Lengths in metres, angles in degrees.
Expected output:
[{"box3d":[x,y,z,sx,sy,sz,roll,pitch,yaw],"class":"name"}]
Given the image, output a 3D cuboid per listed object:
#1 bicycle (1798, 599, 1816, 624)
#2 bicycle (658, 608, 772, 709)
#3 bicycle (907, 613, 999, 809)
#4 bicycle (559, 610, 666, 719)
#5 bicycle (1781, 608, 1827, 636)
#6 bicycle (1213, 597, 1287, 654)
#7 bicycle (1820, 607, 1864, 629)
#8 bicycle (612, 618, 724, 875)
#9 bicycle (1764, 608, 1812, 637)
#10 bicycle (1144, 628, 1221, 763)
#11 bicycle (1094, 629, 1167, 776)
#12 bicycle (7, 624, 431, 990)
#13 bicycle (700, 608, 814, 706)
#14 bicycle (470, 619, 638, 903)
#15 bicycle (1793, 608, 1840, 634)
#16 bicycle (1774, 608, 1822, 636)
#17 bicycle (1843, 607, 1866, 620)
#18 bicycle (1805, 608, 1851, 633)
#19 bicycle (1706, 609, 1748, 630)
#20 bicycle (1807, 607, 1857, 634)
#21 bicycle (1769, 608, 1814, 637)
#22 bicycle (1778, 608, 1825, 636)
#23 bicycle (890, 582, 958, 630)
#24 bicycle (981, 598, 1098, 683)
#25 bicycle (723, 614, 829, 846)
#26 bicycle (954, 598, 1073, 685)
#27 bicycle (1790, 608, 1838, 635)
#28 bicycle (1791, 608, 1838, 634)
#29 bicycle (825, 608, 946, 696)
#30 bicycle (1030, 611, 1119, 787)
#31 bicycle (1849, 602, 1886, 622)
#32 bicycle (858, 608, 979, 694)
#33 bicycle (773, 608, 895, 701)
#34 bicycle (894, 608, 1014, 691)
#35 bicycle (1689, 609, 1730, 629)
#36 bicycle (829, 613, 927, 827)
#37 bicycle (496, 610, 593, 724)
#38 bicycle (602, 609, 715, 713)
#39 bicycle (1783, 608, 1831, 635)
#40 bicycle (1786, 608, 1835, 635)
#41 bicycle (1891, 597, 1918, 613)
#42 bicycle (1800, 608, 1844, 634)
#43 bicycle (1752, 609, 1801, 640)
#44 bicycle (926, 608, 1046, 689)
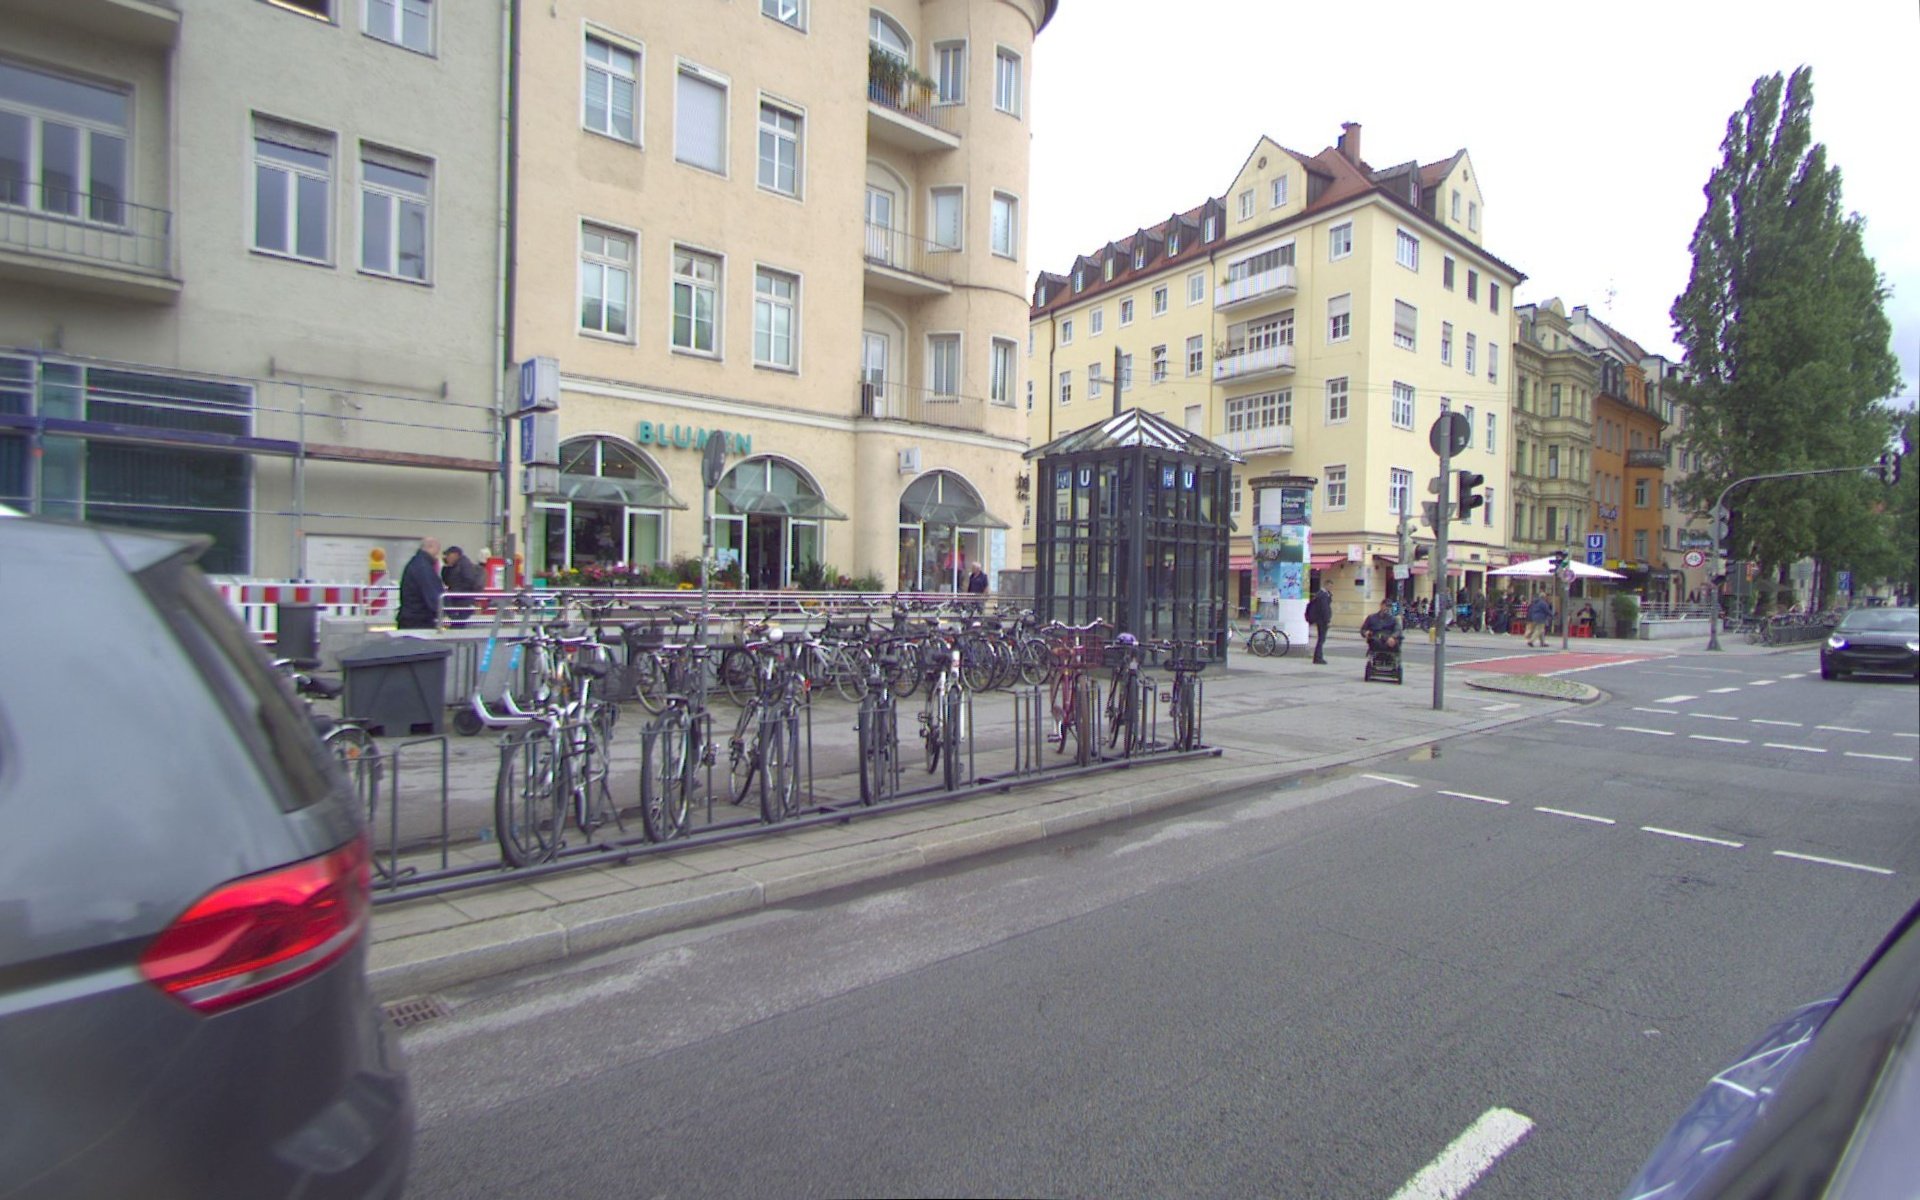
[{"box3d":[44.843,0.622,53.558,1.747,1.304,0.424,0,1,-41],"class":"bicycle"},{"box3d":[-2.786,0.620,11.388,0.445,0.976,1.757,1,1,-42],"class":"bicycle"},{"box3d":[-0.092,0.713,7.292,0.537,1.172,1.806,1,1,-4],"class":"bicycle"},{"box3d":[-3.654,0.631,10.555,0.445,0.976,1.758,1,1,-40],"class":"bicycle"},{"box3d":[34.099,0.865,40.906,0.341,1.008,1.842,2,2,1],"class":"bicycle"},{"box3d":[6.558,0.559,22.951,0.515,1.174,1.573,3,1,-38],"class":"bicycle"},{"box3d":[41.508,0.854,47.643,0.319,1.008,1.844,2,0,-5],"class":"bicycle"},{"box3d":[-1.634,0.731,5.840,0.477,1.172,1.809,1,1,-12],"class":"bicycle"},{"box3d":[31.585,0.857,38.619,0.341,1.008,1.841,2,2,3],"class":"bicycle"},{"box3d":[2.001,0.819,9.241,0.491,1.041,1.599,1,1,6],"class":"bicycle"},{"box3d":[1.425,0.815,8.622,0.491,1.041,1.599,1,1,6],"class":"bicycle"},{"box3d":[-3.013,0.735,4.381,0.639,1.172,1.807,1,1,-6],"class":"bicycle"},{"box3d":[-2.368,0.621,11.662,0.445,0.976,1.757,1,1,-42],"class":"bicycle"},{"box3d":[-2.075,0.728,5.366,0.477,1.172,1.808,1,1,-11],"class":"bicycle"},{"box3d":[36.599,0.874,43.255,0.341,1.008,1.843,1,2,-2],"class":"bicycle"},{"box3d":[33.097,0.862,39.987,0.341,1.008,1.842,2,2,1],"class":"bicycle"},{"box3d":[71.682,1.047,81.097,1.800,1.036,0.447,0,0,-15],"class":"bicycle"},{"box3d":[38.596,0.881,45.029,0.341,1.008,1.843,1,2,-2],"class":"bicycle"},{"box3d":[40.224,1.013,53.118,1.722,1.059,0.381,1,-1,43],"class":"bicycle"},{"box3d":[39.673,0.902,46.064,0.457,1.126,1.845,2,1,-9],"class":"bicycle"},{"box3d":[32.609,0.861,39.699,0.342,1.008,1.840,2,2,5],"class":"bicycle"},{"box3d":[33.613,0.864,40.468,0.341,1.008,1.842,2,2,1],"class":"bicycle"},{"box3d":[-0.862,0.143,24.555,0.494,1.103,1.837,2,1,42],"class":"bicycle"},{"box3d":[1.127,0.557,14.751,0.500,1.108,1.840,1,1,-42],"class":"bicycle"},{"box3d":[-1.194,0.710,6.325,0.477,1.172,1.809,1,1,-15],"class":"bicycle"},{"box3d":[0.727,0.555,14.362,0.500,1.108,1.840,1,1,-42],"class":"bicycle"},{"box3d":[35.595,0.870,42.217,0.341,1.008,1.843,1,2,-2],"class":"bicycle"},{"box3d":[36.122,0.873,42.822,0.341,1.008,1.843,1,2,-2],"class":"bicycle"},{"box3d":[-0.984,0.631,12.921,0.500,0.976,1.840,1,1,-42],"class":"bicycle"},{"box3d":[0.890,0.729,8.250,0.549,1.213,1.804,1,1,2],"class":"bicycle"},{"box3d":[48.690,0.645,54.316,0.368,1.008,1.842,2,0,0],"class":"bicycle"},{"box3d":[-0.576,0.632,13.248,0.500,0.976,1.840,1,1,-42],"class":"bicycle"},{"box3d":[-1.570,0.629,12.358,0.500,0.976,1.840,1,1,-42],"class":"bicycle"},{"box3d":[-0.111,0.633,13.642,0.500,0.976,1.840,1,1,-42],"class":"bicycle"},{"box3d":[40.251,1.022,54.379,0.380,1.059,1.730,2,-1,-30],"class":"bicycle"},{"box3d":[-0.533,0.711,6.776,0.537,1.172,1.806,1,1,-4],"class":"bicycle"},{"box3d":[-4.184,0.623,10.129,0.363,0.976,1.758,1,1,-40],"class":"bicycle"},{"box3d":[-3.304,0.619,10.992,0.445,0.976,1.757,1,1,-42],"class":"bicycle"},{"box3d":[34.597,0.867,41.362,0.341,1.008,1.843,1,2,-2],"class":"bicycle"},{"box3d":[35.096,0.869,41.784,0.341,1.008,1.843,1,2,-2],"class":"bicycle"},{"box3d":[66.413,0.335,71.197,0.353,1.116,1.743,1,1,4],"class":"bicycle"},{"box3d":[37.150,0.877,43.653,0.341,1.008,1.841,2,2,2],"class":"bicycle"},{"box3d":[29.975,0.878,37.174,0.341,1.008,1.841,2,2,3],"class":"bicycle"},{"box3d":[0.323,0.634,13.940,0.500,0.976,1.840,1,1,-42],"class":"bicycle"}]
